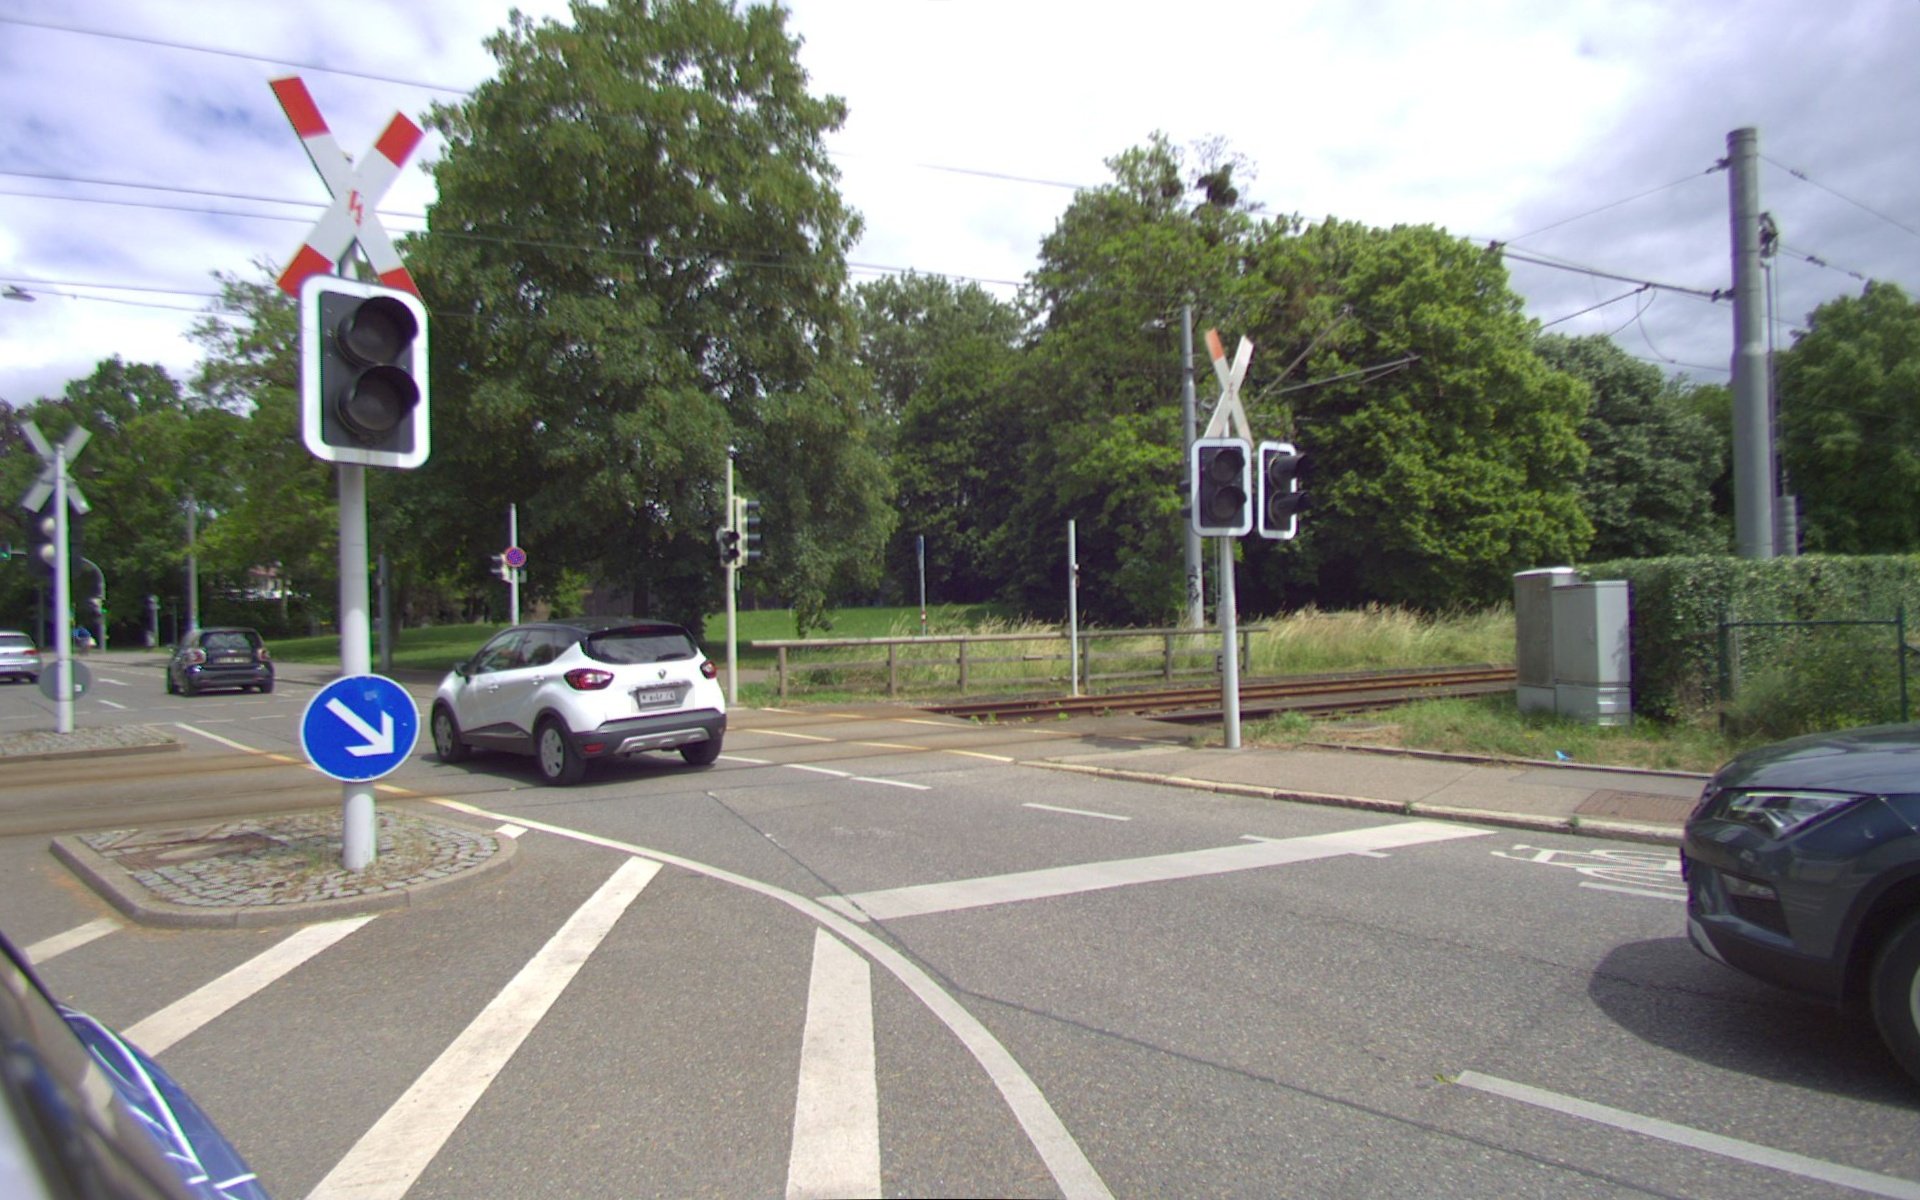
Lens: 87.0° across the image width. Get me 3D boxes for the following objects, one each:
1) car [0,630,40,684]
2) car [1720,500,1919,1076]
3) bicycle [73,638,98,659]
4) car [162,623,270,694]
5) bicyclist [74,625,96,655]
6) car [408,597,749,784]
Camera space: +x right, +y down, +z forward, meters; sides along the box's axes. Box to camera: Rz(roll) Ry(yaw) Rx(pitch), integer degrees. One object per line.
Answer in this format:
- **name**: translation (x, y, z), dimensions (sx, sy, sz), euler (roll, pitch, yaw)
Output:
- **car**: translation (-27.667, 1.601, 28.616), dimensions (4.061, 1.469, 1.673), euler (-2, -2, 36)
- **car**: translation (4.457, 0.540, 2.496), dimensions (4.036, 1.615, 1.757), euler (-1, -2, 41)
- **bicycle**: translation (-49.646, 2.734, 57.431), dimensions (1.799, 1.116, 0.803), euler (-2, 1, 41)
- **car**: translation (-17.212, 1.306, 23.379), dimensions (2.788, 1.521, 1.557), euler (-2, -1, 44)
- **bicyclist**: translation (-49.621, 2.264, 57.369), dimensions (0.771, 1.620, 0.797), euler (-2, 1, 41)
- **car**: translation (-4.190, 0.839, 10.789), dimensions (4.037, 1.615, 1.756), euler (-2, -1, 42)
